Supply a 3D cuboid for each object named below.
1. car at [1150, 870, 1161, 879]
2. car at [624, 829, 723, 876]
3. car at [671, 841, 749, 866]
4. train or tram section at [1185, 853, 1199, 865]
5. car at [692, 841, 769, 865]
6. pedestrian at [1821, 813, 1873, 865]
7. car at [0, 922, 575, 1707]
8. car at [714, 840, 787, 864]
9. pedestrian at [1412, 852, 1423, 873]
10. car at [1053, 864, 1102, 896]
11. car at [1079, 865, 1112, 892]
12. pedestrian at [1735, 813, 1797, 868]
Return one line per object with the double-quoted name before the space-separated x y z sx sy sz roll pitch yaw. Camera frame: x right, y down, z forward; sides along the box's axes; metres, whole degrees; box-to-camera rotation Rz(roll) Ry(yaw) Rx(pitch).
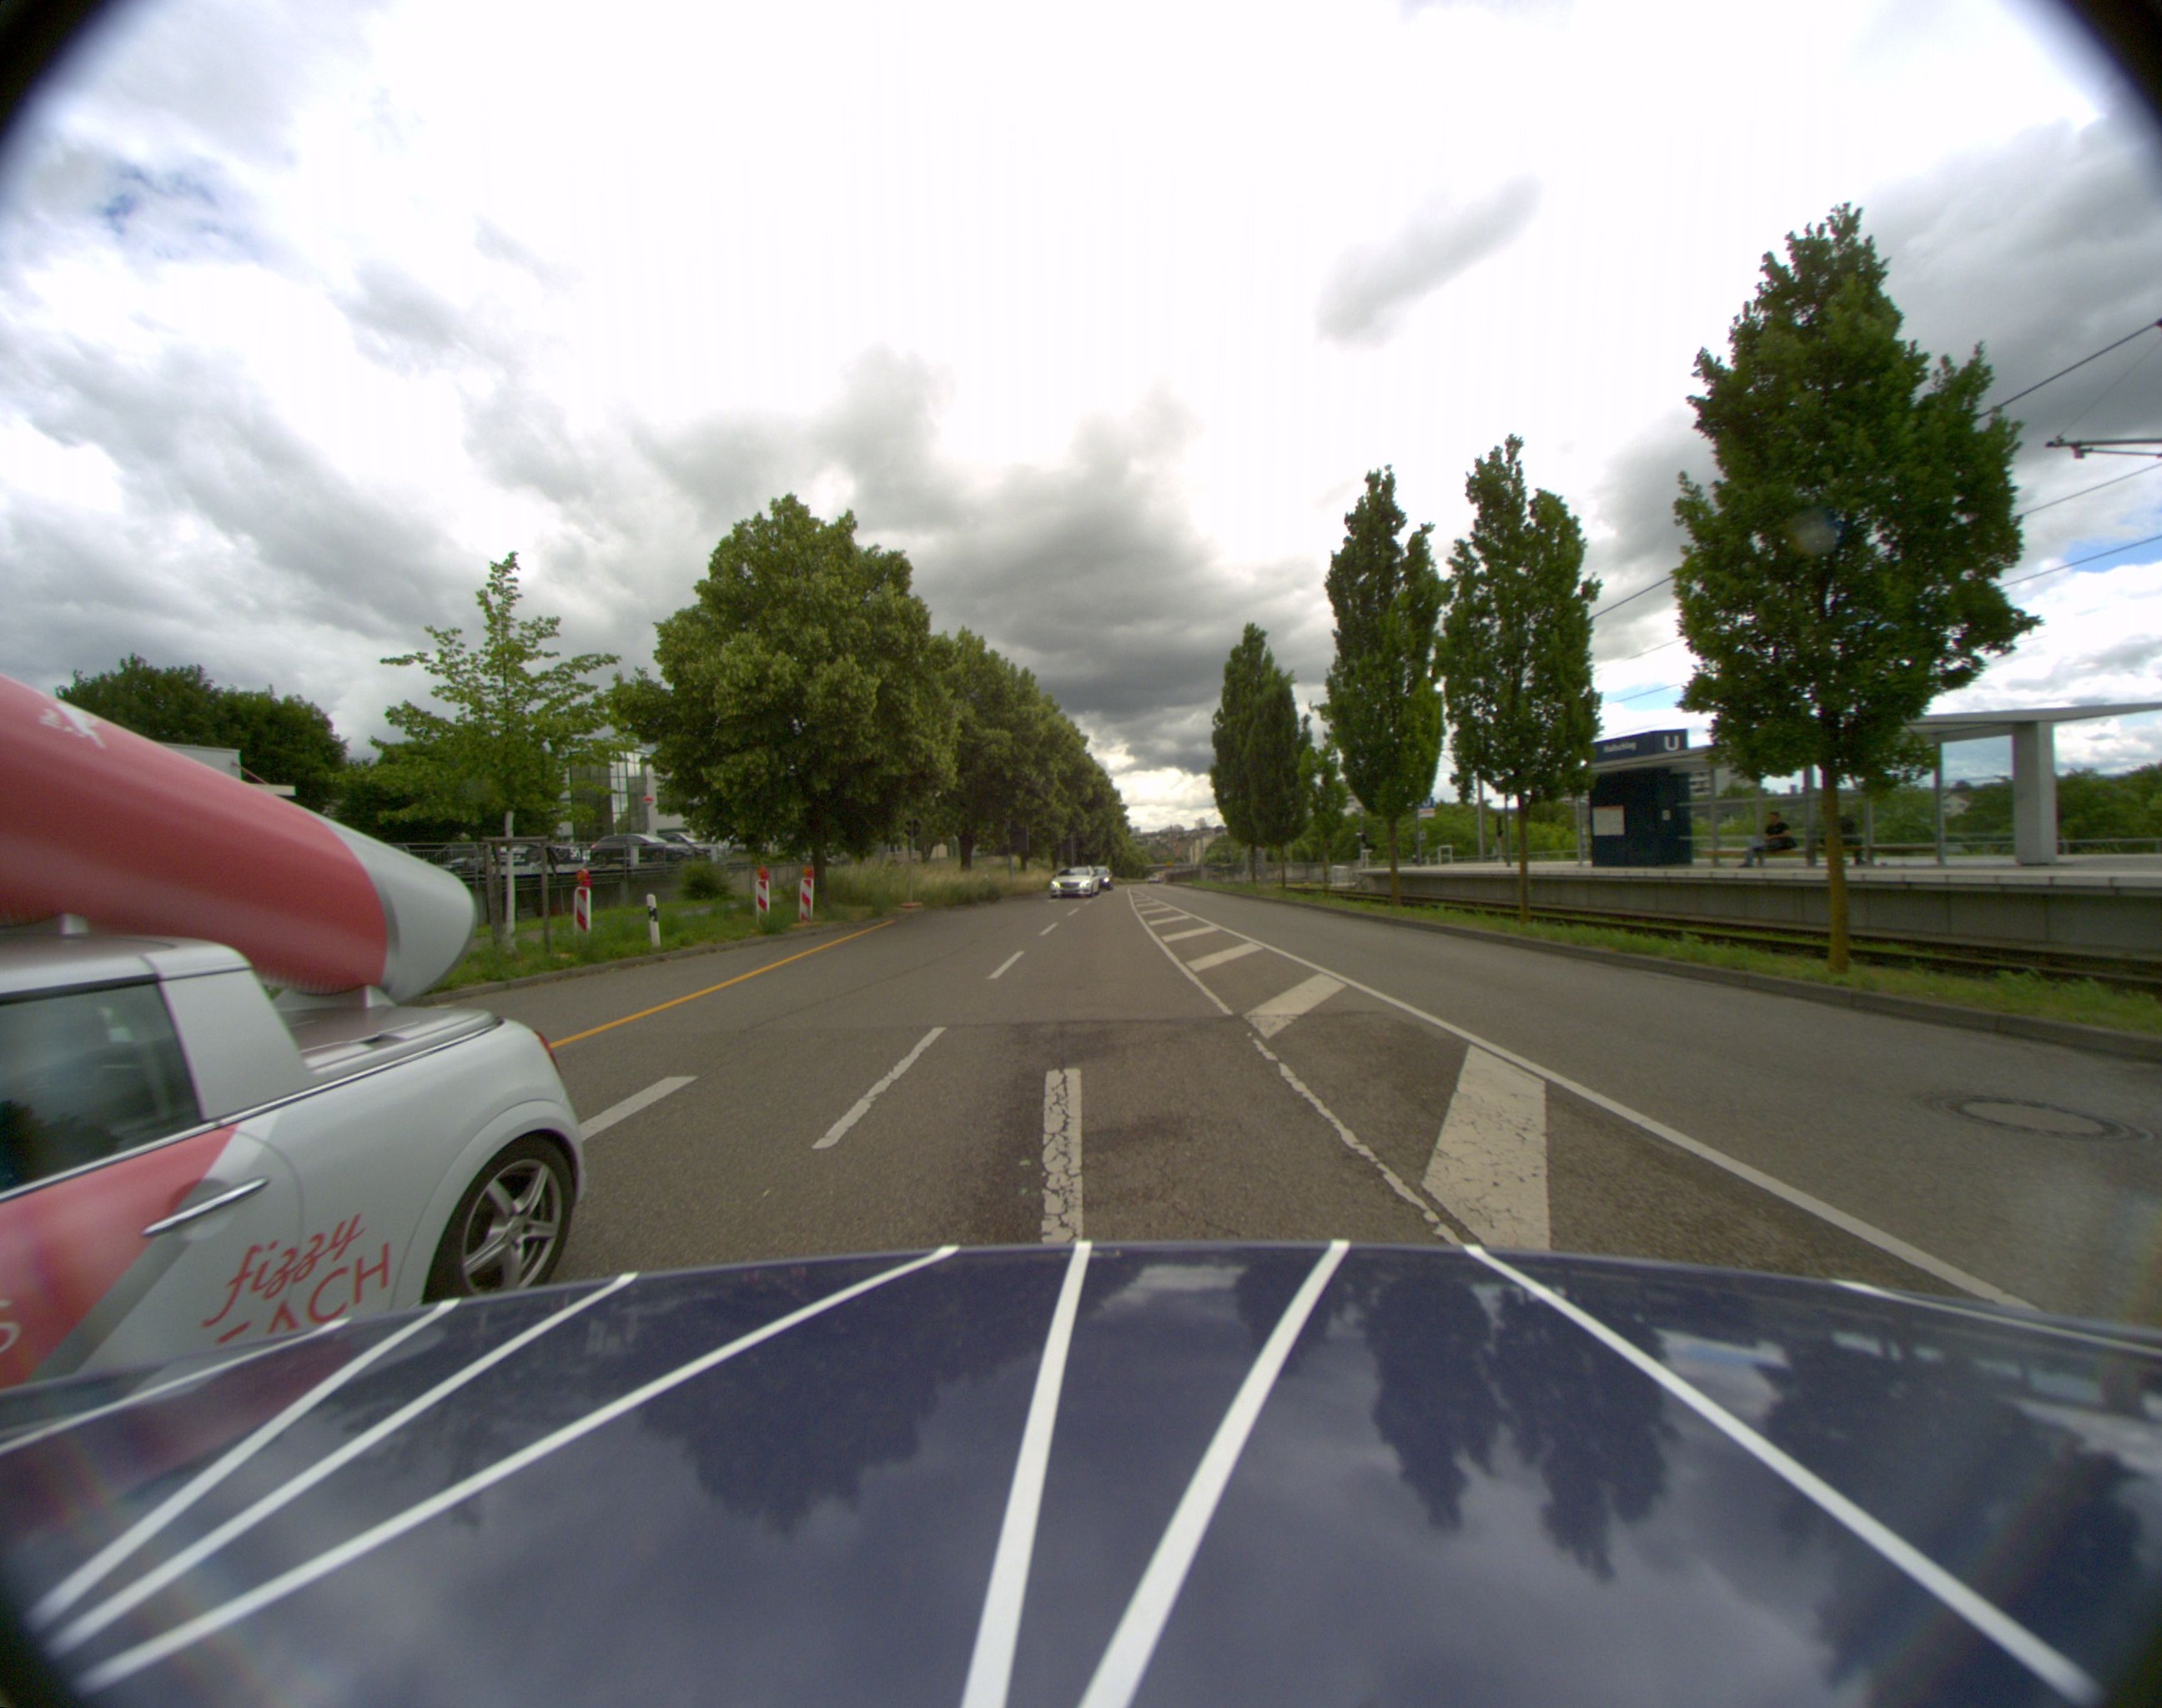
"car" 12.859 3.481 131.601 1.719 1.512 3.747 -1 -1 5
"car" -19.177 -0.049 35.811 3.762 1.947 1.644 -3 -1 8
"car" -21.728 -0.035 44.591 3.762 1.356 1.756 -1 0 8
"train or tram section" 30.826 1.458 211.720 2.787 3.174 18.485 -2 -1 5
"car" -21.588 -0.045 46.885 3.933 1.360 1.756 -1 0 8
"pedestrian" 16.328 -0.310 16.200 0.608 1.072 0.470 -2 -1 -1
"car" -2.839 1.025 1.058 1.723 1.449 3.696 -2 0 0
"car" -21.457 -0.137 49.393 3.933 1.474 1.756 -1 0 8
"pedestrian" 25.586 0.659 57.792 0.508 1.615 0.646 -2 -1 4
"car" -0.104 1.196 35.430 1.738 1.365 4.003 -2 -1 6
"car" 0.928 1.441 46.185 1.805 1.439 4.001 -2 1 4
"pedestrian" 15.470 -0.298 17.172 0.763 1.192 0.665 -2 0 -1
